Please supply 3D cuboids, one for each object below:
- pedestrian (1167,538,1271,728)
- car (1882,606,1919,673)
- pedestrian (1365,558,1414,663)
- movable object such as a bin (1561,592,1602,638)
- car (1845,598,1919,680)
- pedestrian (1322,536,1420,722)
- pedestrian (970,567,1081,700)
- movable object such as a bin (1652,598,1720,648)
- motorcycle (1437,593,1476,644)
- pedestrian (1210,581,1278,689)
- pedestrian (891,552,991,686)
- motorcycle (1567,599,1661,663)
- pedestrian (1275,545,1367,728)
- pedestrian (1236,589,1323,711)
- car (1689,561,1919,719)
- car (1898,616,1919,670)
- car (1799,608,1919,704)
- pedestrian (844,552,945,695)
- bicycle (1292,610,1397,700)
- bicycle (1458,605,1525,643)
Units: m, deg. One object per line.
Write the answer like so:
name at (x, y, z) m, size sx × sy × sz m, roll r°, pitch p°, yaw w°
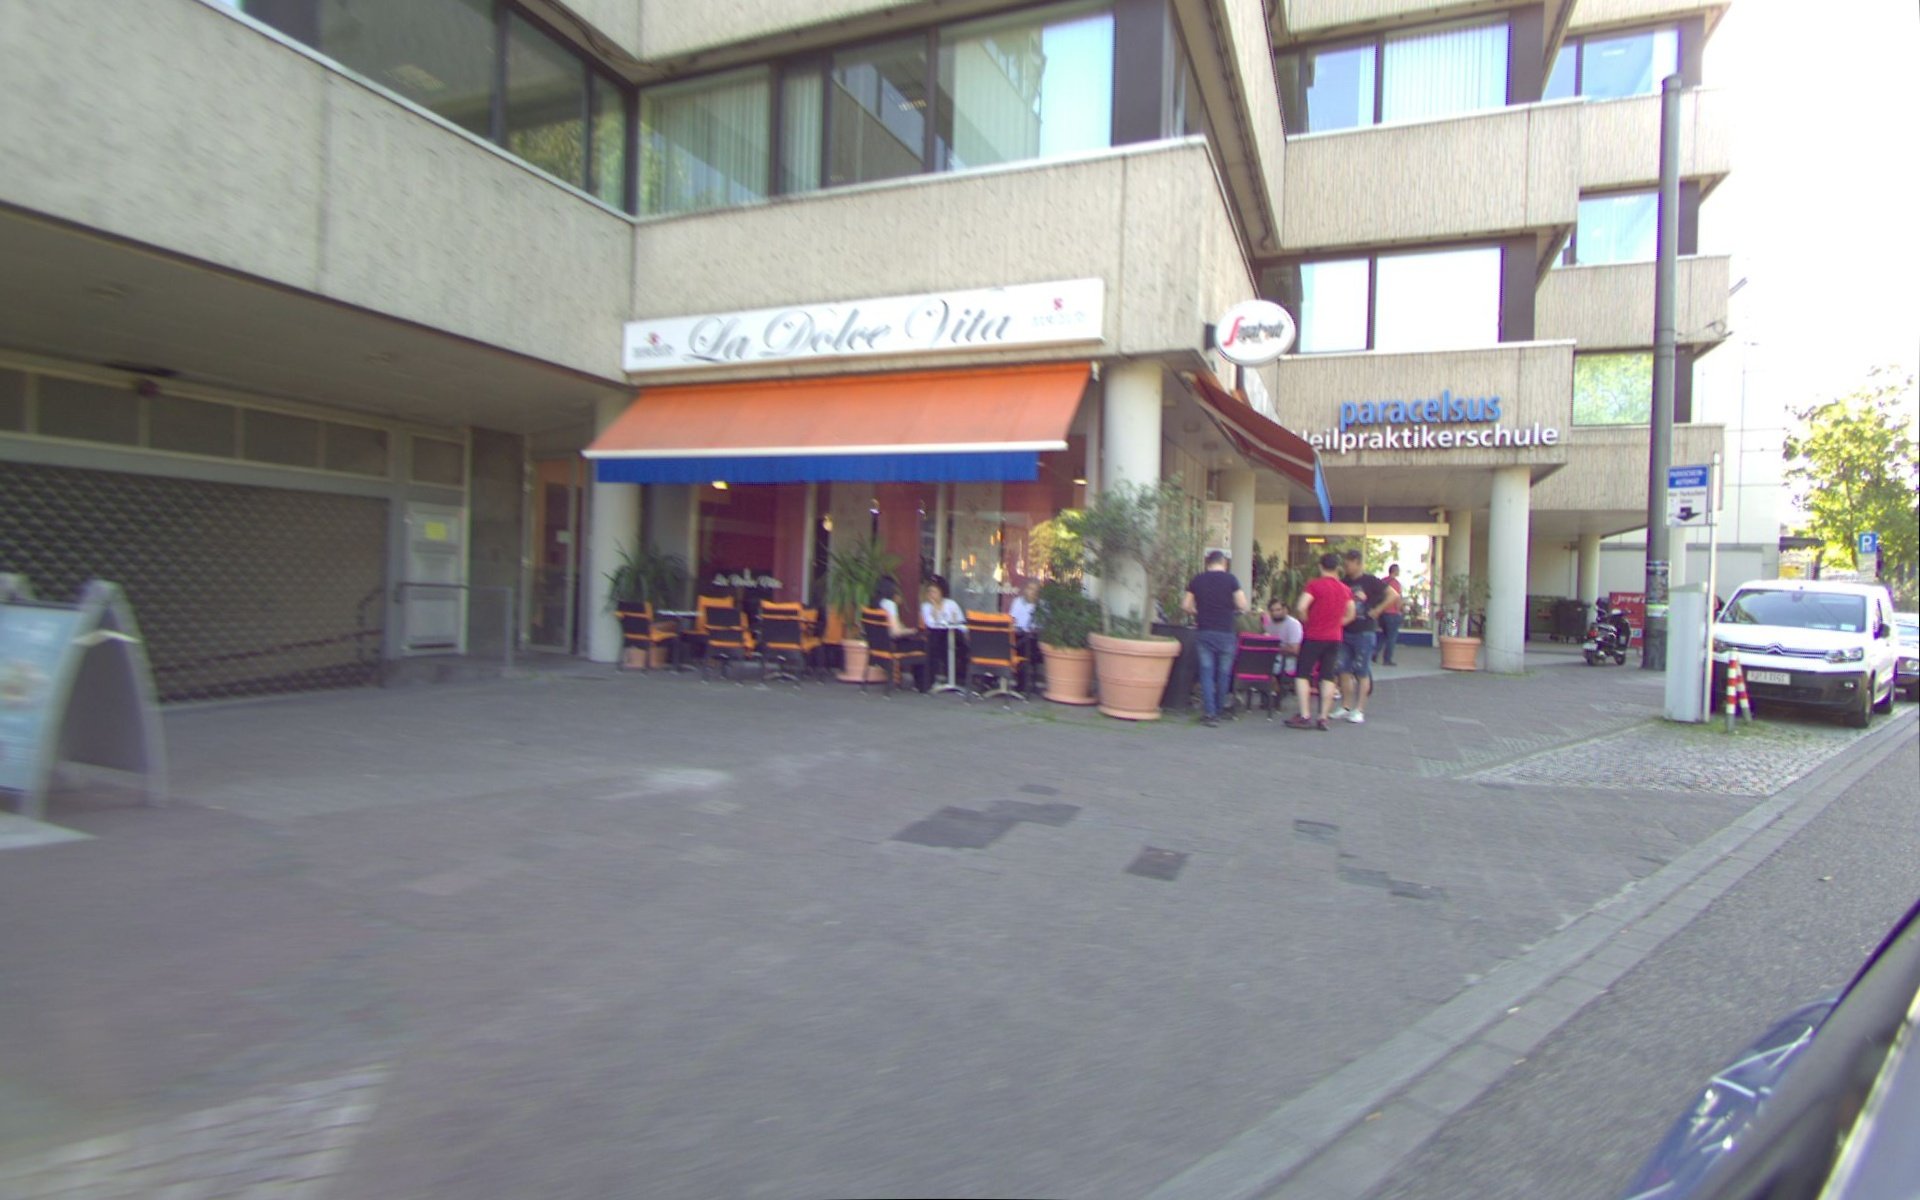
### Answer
pedestrian at (2.536, 0.292, 9.878) m, size 0.834 × 1.731 × 0.715 m, roll 3°, pitch 2°, yaw 20°
car at (24.548, 0.946, 25.298) m, size 4.124 × 1.537 × 1.674 m, roll -1°, pitch 0°, yaw -40°
pedestrian at (7.699, 0.180, 18.153) m, size 0.706 × 1.839 × 0.702 m, roll 0°, pitch 0°, yaw 15°
movable object such as a bin at (19.002, 0.447, 30.954) m, size 0.836 × 1.401 × 0.795 m, roll 0°, pitch 0°, yaw -34°
car at (21.458, 0.822, 22.833) m, size 3.801 × 1.710 × 1.853 m, roll -1°, pitch 0°, yaw -42°
pedestrian at (4.329, 0.279, 10.681) m, size 0.599 × 1.878 × 0.673 m, roll 0°, pitch 3°, yaw -38°
pedestrian at (0.700, 0.321, 10.736) m, size 0.839 × 1.308 × 0.820 m, roll 3°, pitch 3°, yaw 36°
movable object such as a bin at (21.330, 0.642, 29.747) m, size 1.100 × 1.415 × 1.340 m, roll 0°, pitch 0°, yaw -34°
motorcycle at (12.057, 0.438, 24.551) m, size 0.510 × 1.183 × 2.073 m, roll 0°, pitch -1°, yaw 36°
pedestrian at (4.280, 0.517, 15.251) m, size 0.830 × 1.576 × 0.662 m, roll 1°, pitch -1°, yaw -45°
pedestrian at (-0.199, 0.201, 11.308) m, size 0.834 × 1.420 × 0.824 m, roll 1°, pitch -1°, yaw 23°
motorcycle at (13.131, 0.599, 20.298) m, size 2.007 × 1.169 × 0.767 m, roll -1°, pitch 4°, yaw -32°
pedestrian at (3.582, 0.345, 10.051) m, size 0.685 × 1.736 × 0.585 m, roll 0°, pitch 0°, yaw -39°
pedestrian at (3.493, 0.521, 11.060) m, size 0.613 × 1.251 × 0.632 m, roll 0°, pitch 3°, yaw -38°
car at (11.754, 0.441, 13.919) m, size 4.236 × 1.835 × 1.996 m, roll -1°, pitch 0°, yaw -42°
car at (28.041, 1.183, 28.469) m, size 4.518 × 1.361 × 1.855 m, roll -1°, pitch 0°, yaw -40°
car at (16.903, 0.916, 18.375) m, size 4.647 × 1.472 × 1.778 m, roll -1°, pitch 0°, yaw -40°
pedestrian at (-0.669, 0.239, 10.541) m, size 0.833 × 1.420 × 0.748 m, roll 0°, pitch -1°, yaw 19°
bicycle at (4.923, 0.664, 12.909) m, size 1.616 × 1.047 × 0.563 m, roll -1°, pitch 0°, yaw -42°
bicycle at (14.492, 0.643, 27.649) m, size 0.668 × 0.993 × 1.860 m, roll 1°, pitch -1°, yaw -7°
